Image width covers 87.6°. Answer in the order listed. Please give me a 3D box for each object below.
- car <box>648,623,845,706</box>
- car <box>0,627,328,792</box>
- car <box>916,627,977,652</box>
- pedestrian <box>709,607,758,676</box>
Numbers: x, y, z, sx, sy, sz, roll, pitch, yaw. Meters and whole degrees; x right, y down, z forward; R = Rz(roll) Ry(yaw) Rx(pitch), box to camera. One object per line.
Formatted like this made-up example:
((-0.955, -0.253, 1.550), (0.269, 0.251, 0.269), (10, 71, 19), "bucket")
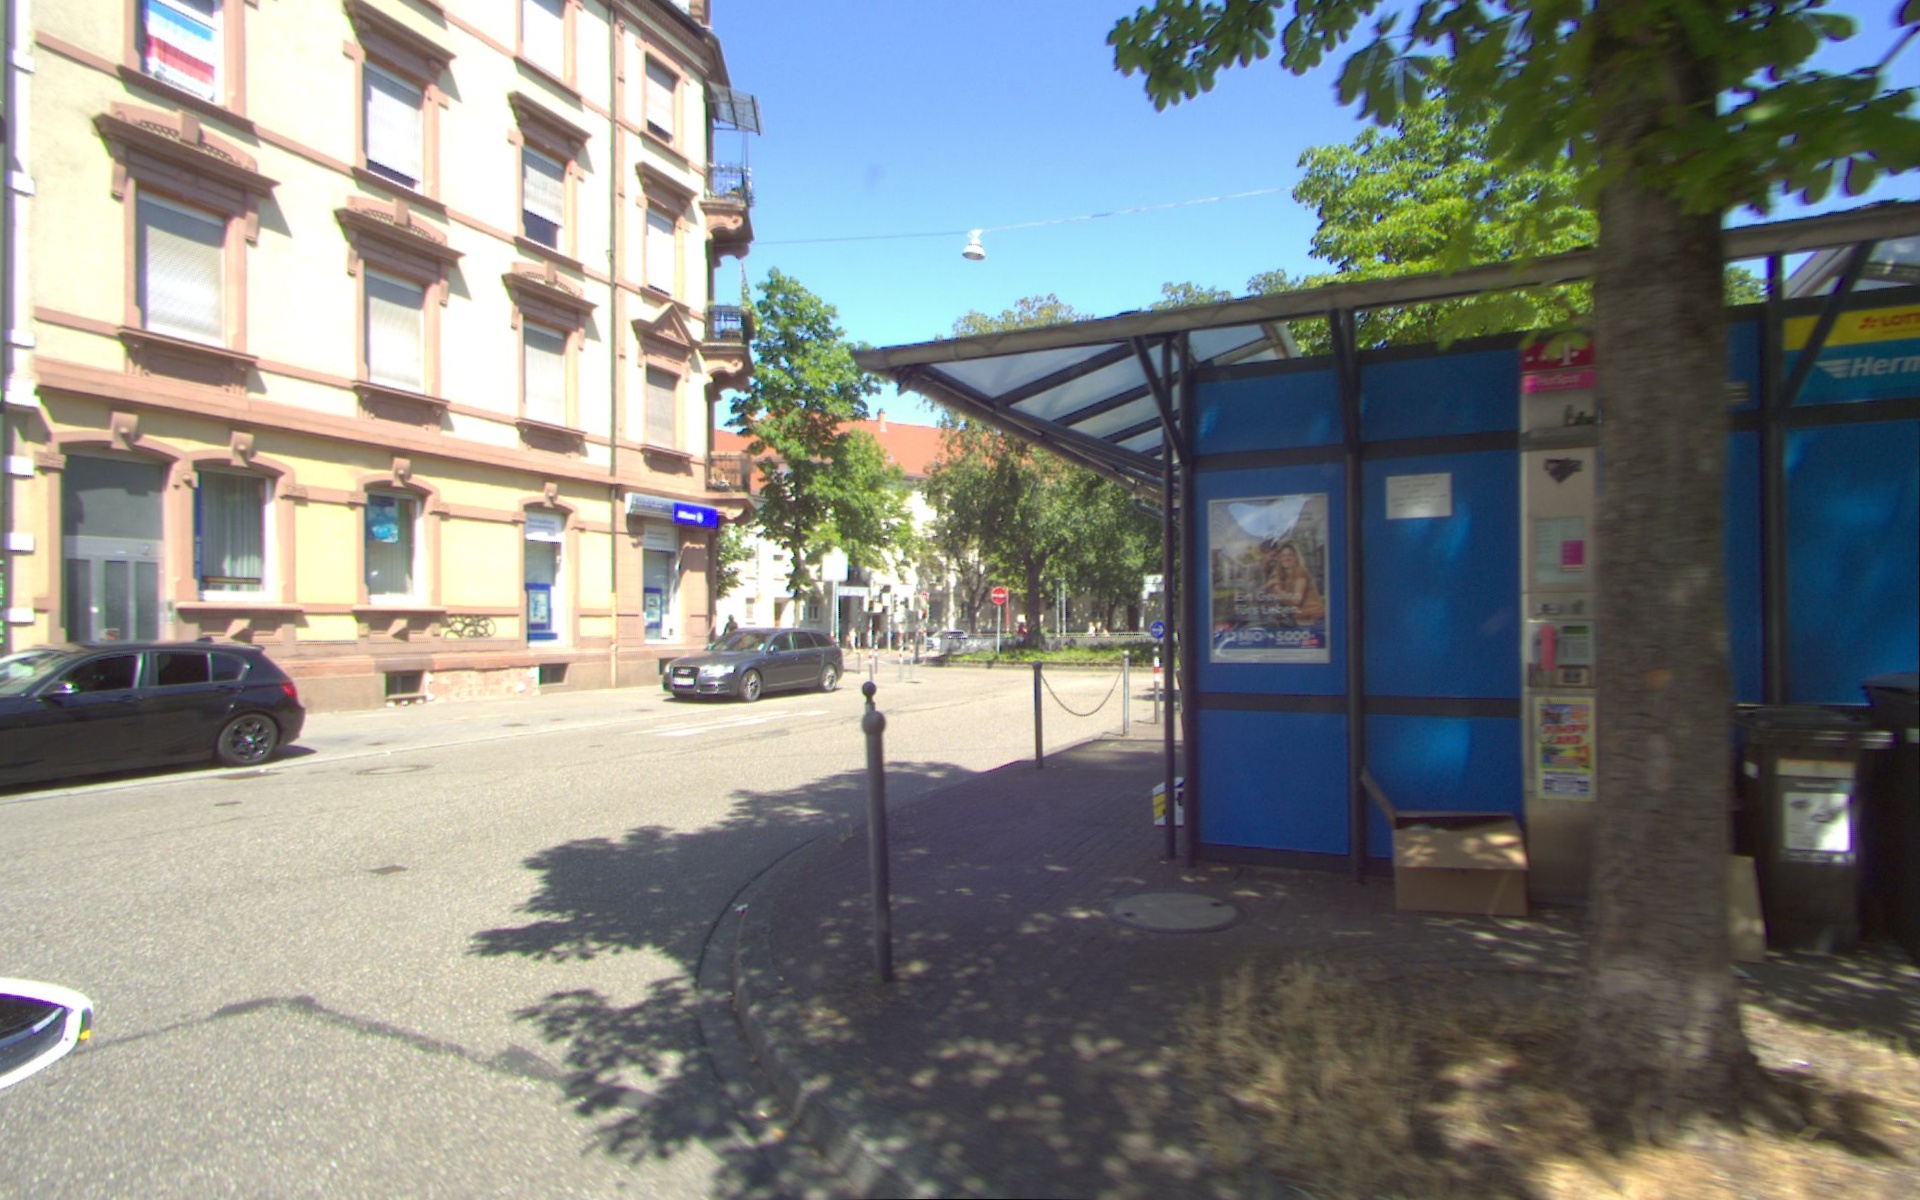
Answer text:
((-4.331, 1.264, 21.077), (1.777, 1.474, 4.422), (0, 0, 25), "car")
((-9.192, 1.041, 10.282), (1.777, 1.388, 4.294), (2, 0, 25), "car")
((-0.895, 2.706, 69.029), (3.960, 1.643, 1.965), (0, -1, -44), "car")
((-6.841, 1.232, 30.212), (1.039, 2.040, 1.222), (-1, 0, -35), "pedestrian")
